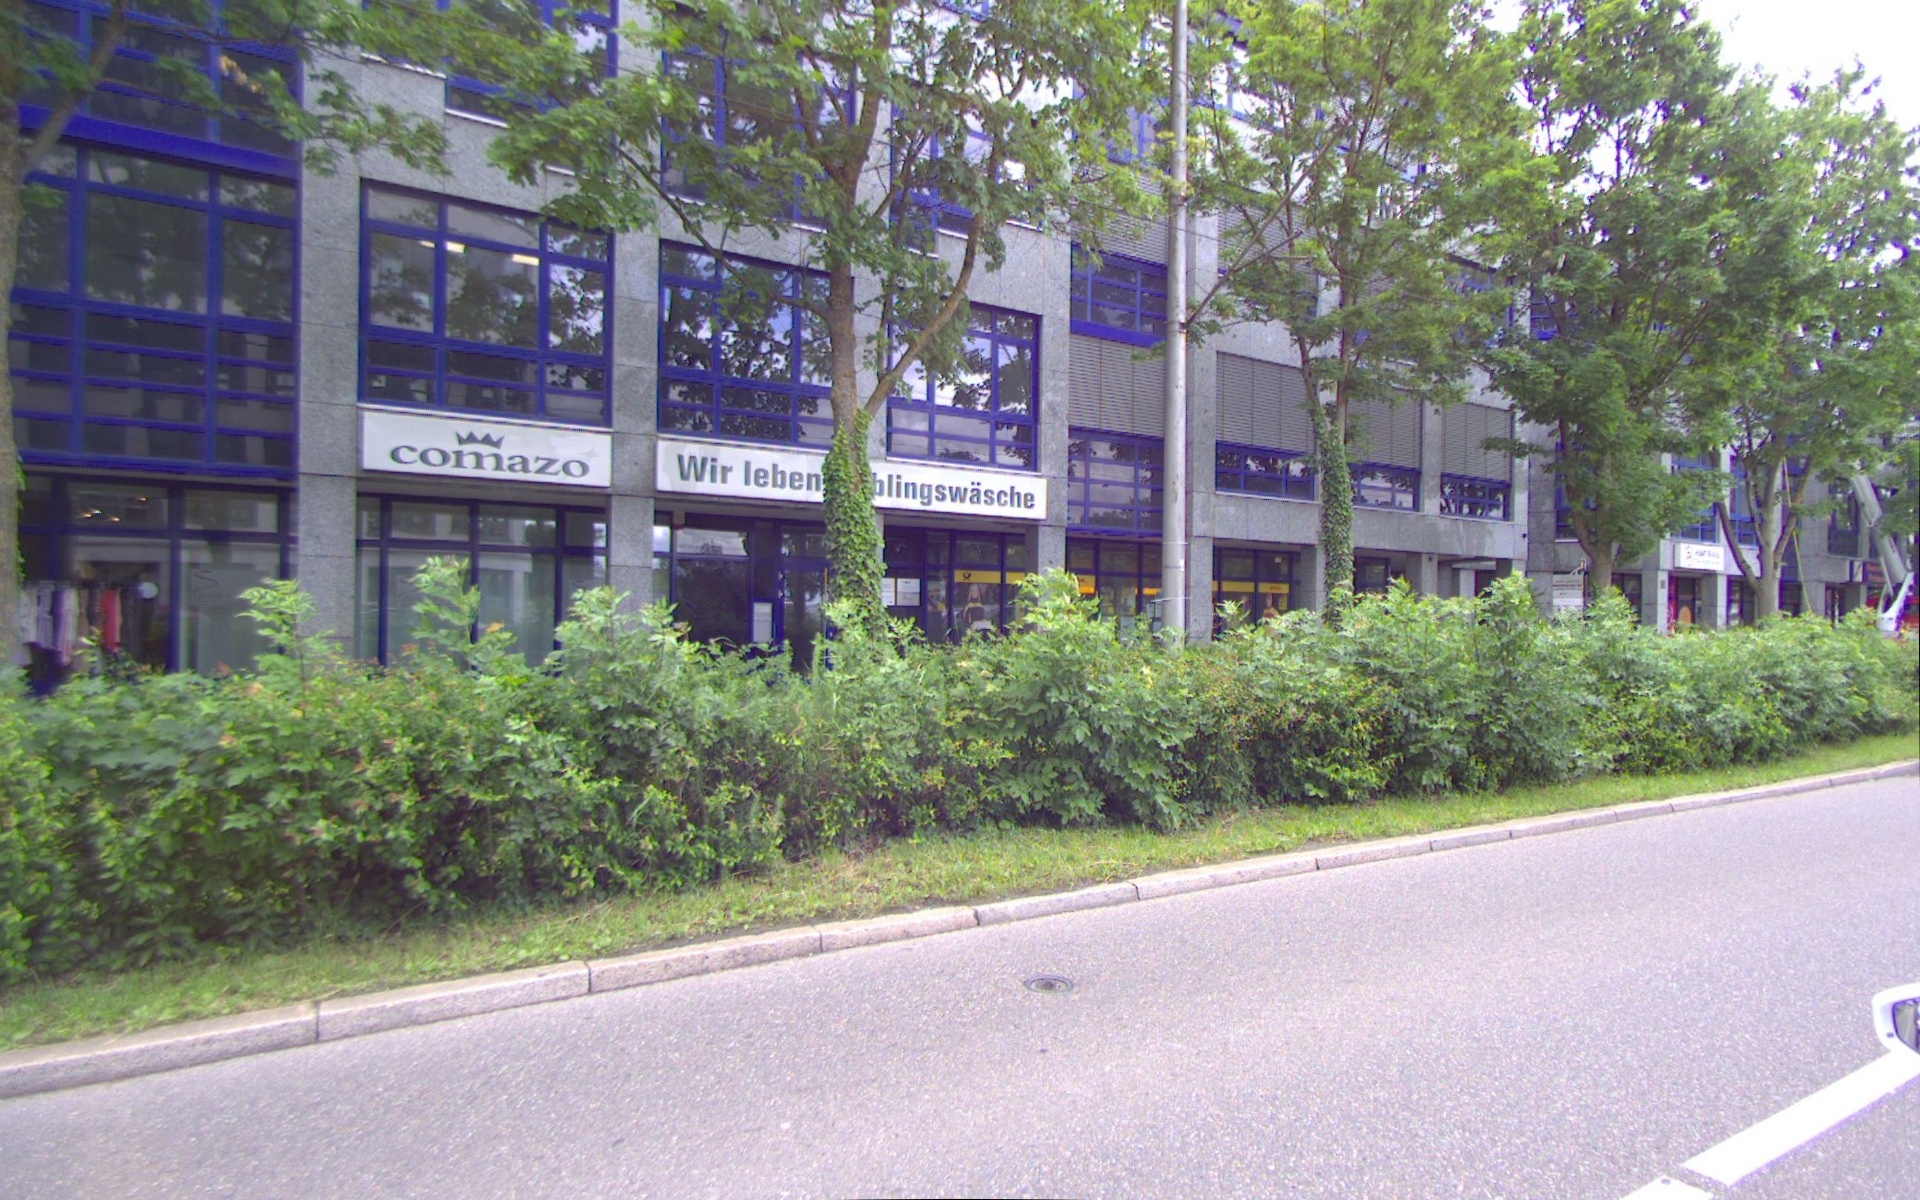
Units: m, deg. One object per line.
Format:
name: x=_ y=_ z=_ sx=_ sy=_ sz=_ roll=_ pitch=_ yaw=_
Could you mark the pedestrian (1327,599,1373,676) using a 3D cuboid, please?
pedestrian: x=9.902 y=0.951 z=25.515 sx=0.723 sy=1.919 sz=0.771 roll=2 pitch=0 yaw=-30
